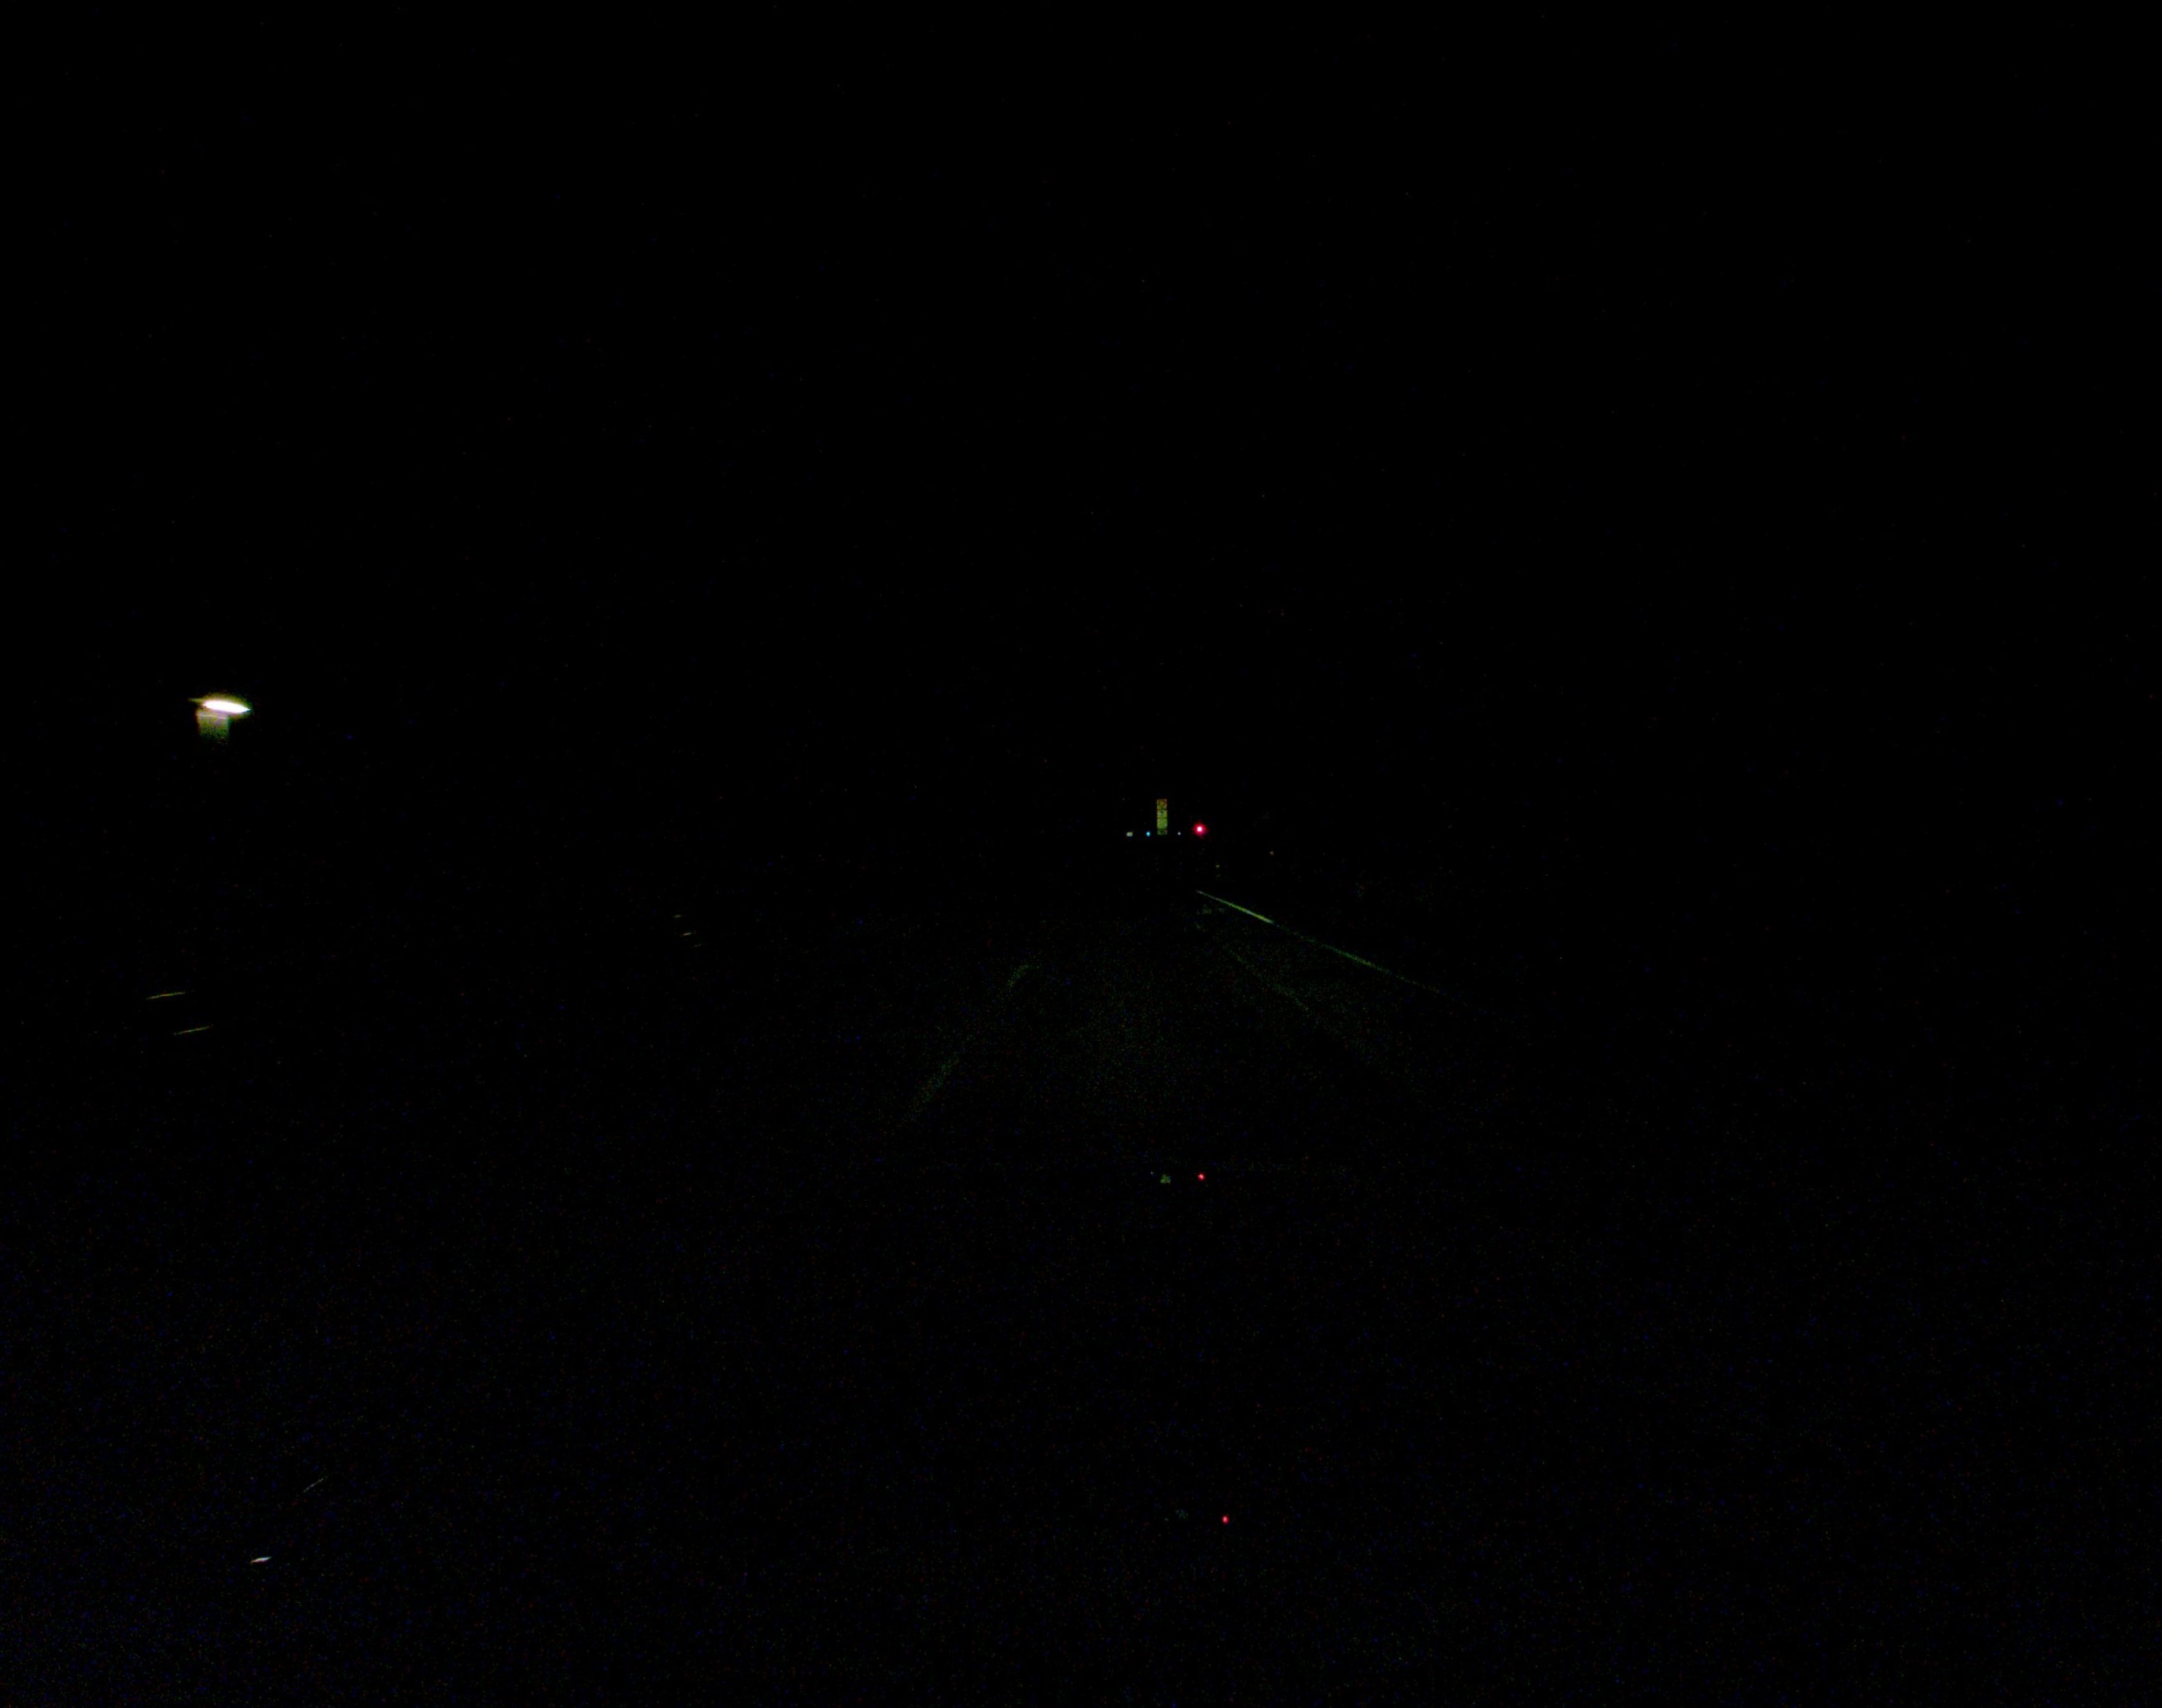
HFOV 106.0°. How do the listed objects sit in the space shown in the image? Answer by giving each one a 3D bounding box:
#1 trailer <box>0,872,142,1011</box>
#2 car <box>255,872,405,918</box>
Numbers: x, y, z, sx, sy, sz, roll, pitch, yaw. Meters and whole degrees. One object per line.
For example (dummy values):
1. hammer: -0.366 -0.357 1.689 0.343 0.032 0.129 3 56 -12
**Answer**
1. trailer: -15.102 1.205 9.256 2.016 1.780 5.678 -4 -1 3
2. car: -27.651 1.500 30.061 3.969 1.609 1.759 0 -1 4
